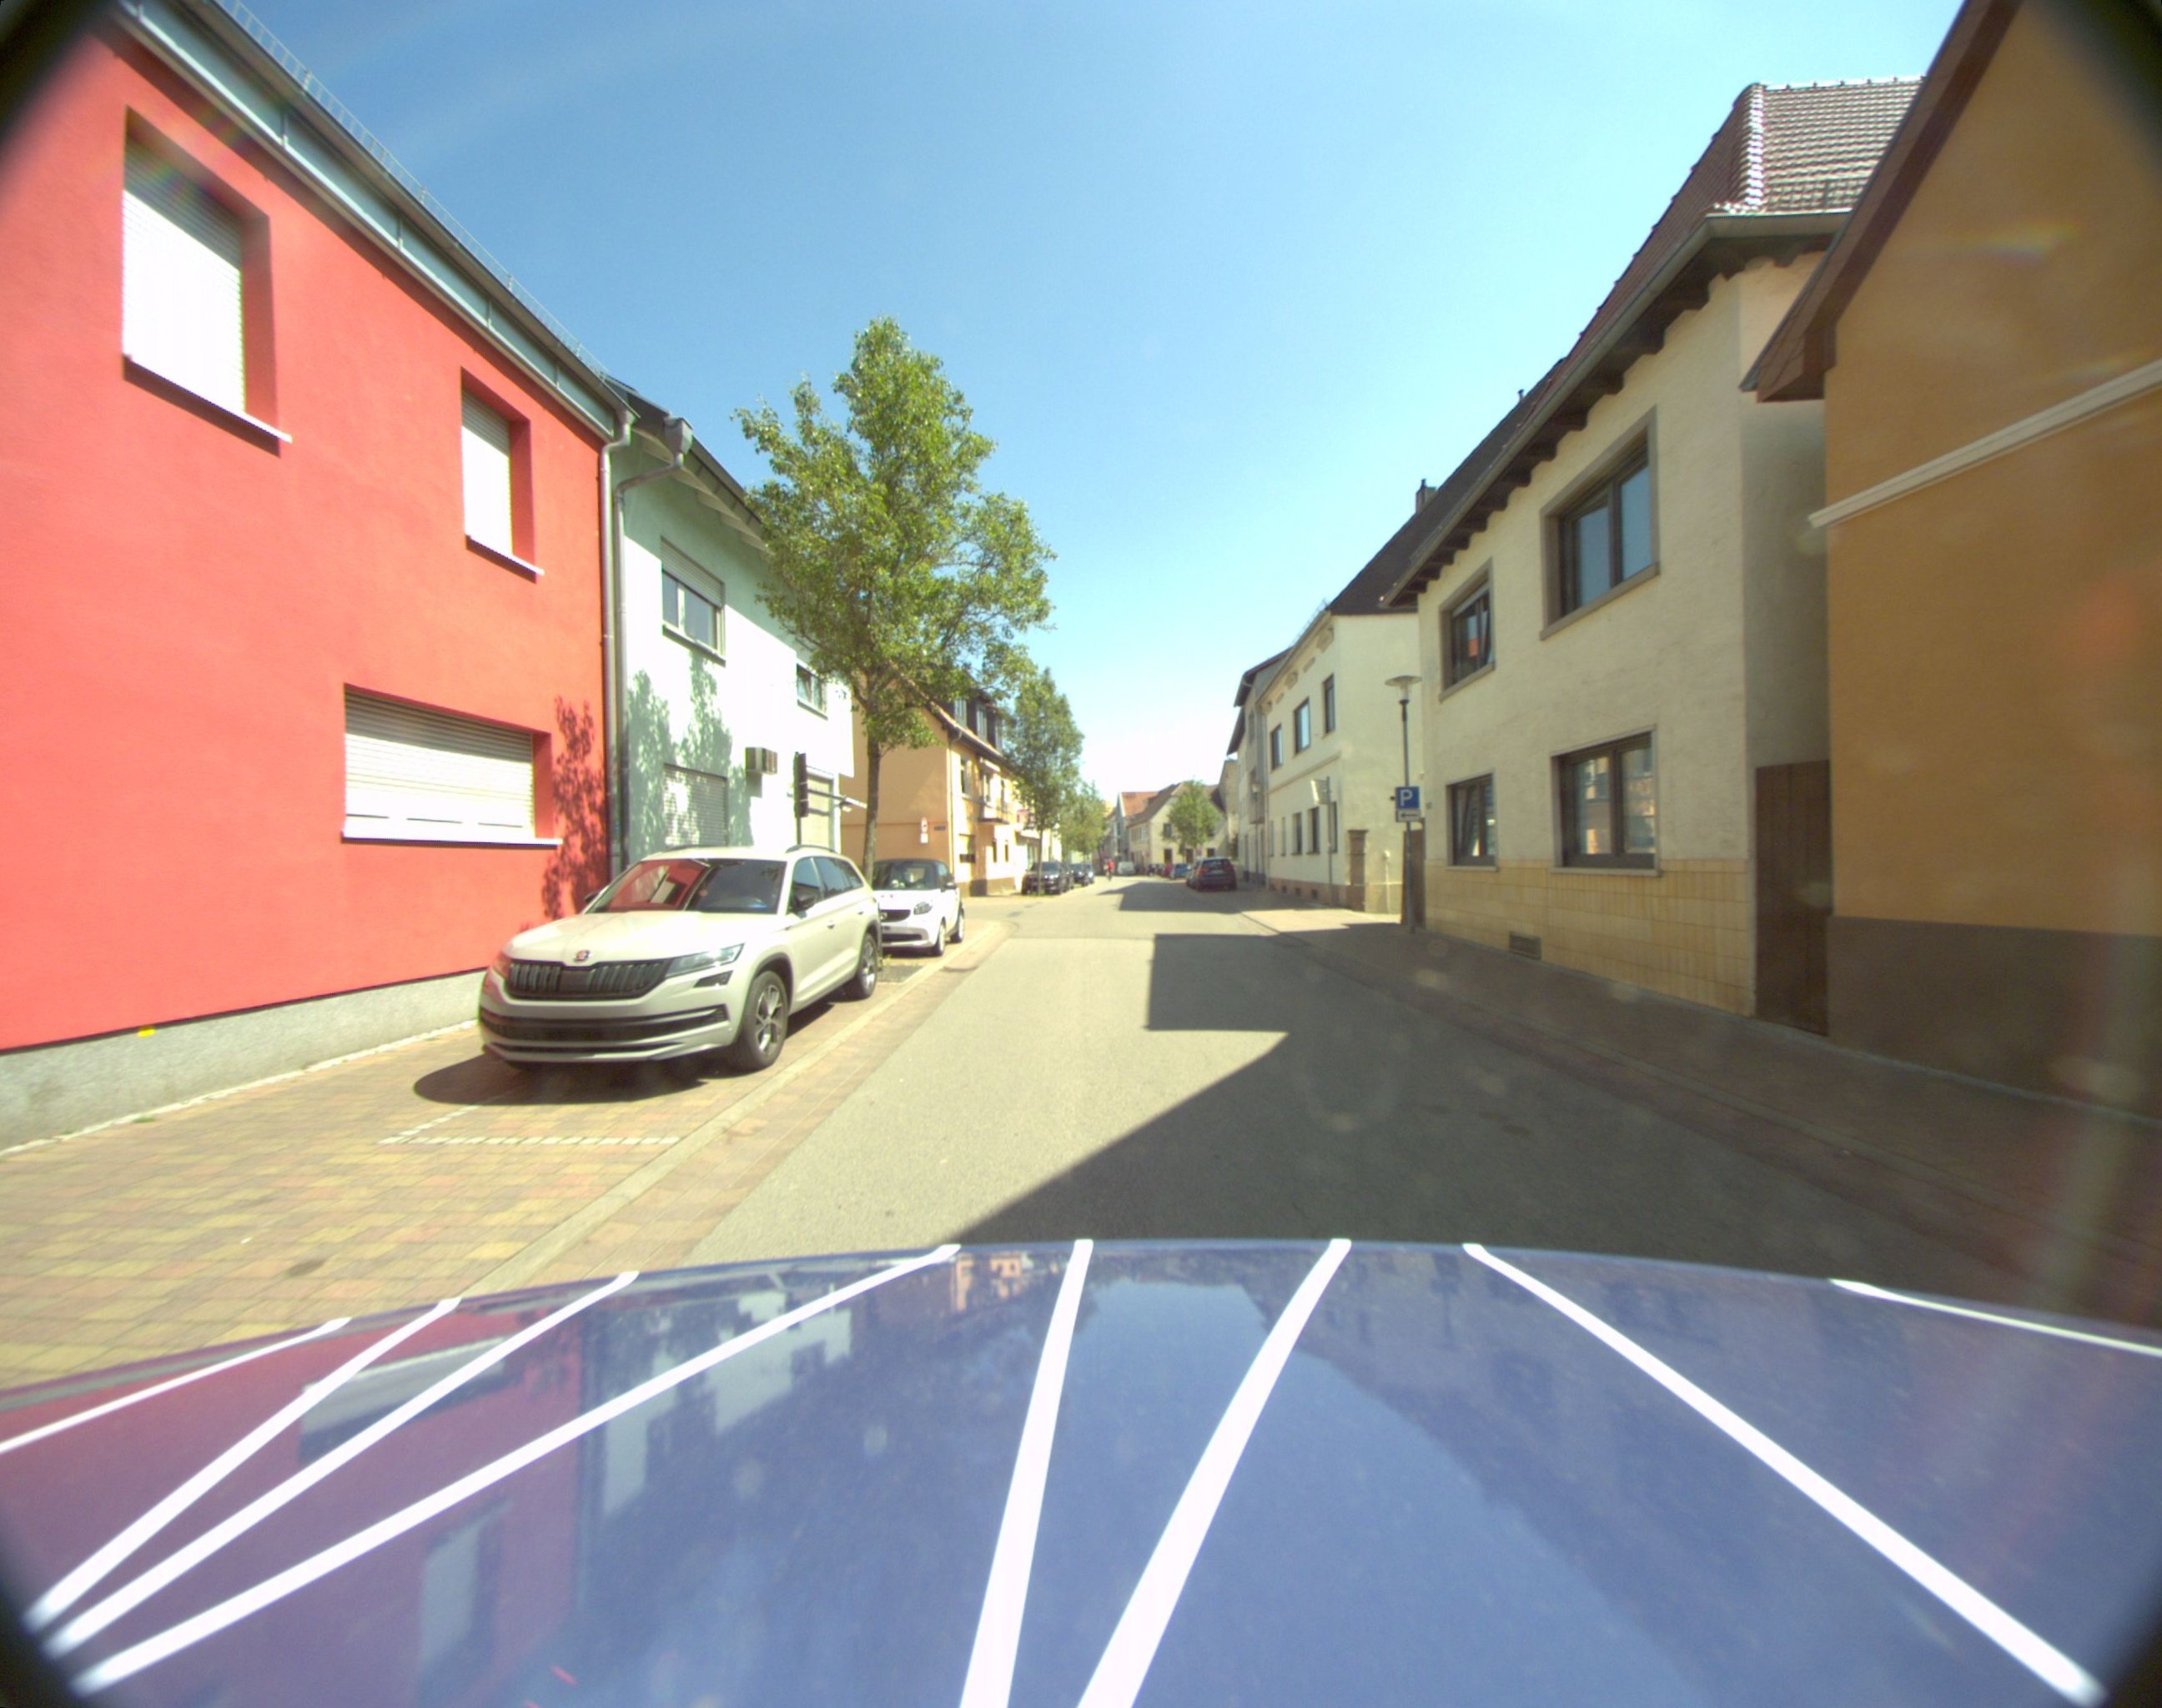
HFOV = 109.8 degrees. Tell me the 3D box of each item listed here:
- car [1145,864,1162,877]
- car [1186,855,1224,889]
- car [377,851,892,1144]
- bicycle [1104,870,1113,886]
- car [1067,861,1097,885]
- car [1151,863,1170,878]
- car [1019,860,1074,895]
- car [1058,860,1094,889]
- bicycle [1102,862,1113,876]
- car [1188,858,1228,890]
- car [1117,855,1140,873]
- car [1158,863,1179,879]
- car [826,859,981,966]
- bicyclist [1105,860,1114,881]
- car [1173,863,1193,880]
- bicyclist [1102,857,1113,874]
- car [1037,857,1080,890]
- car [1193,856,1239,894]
[{"bbox_3d":[8.402,1.907,88.592,1.571,1.452,3.801,-1,0,0],"label":"car"},{"bbox_3d":[7.484,1.072,46.109,1.997,1.935,4.111,-2,-1,6],"label":"car"},{"bbox_3d":[-3.214,0.878,6.820,1.871,1.674,4.662,-2,-1,0],"label":"car"},{"bbox_3d":[2.342,2.058,64.788,0.635,1.227,1.895,4,-3,3],"label":"bicycle"},{"bbox_3d":[0.148,1.429,58.480,1.998,1.759,4.110,-1,0,4],"label":"car"},{"bbox_3d":[8.507,1.760,81.373,1.571,1.452,3.801,-1,0,0],"label":"car"},{"bbox_3d":[-1.603,1.088,36.935,1.928,1.594,4.111,-1,0,8],"label":"car"},{"bbox_3d":[-0.264,1.299,49.529,1.998,1.759,4.110,-1,0,4],"label":"car"},{"bbox_3d":[2.670,1.496,75.447,0.959,1.362,2.407,2,-1,4],"label":"bicycle"},{"bbox_3d":[6.880,1.064,41.605,1.916,1.605,3.988,-1,0,6],"label":"car"},{"bbox_3d":[6.171,1.388,99.227,2.443,2.223,4.961,-1,-1,-2],"label":"car"},{"bbox_3d":[8.430,1.578,73.380,1.571,1.452,3.801,-1,0,0],"label":"car"},{"bbox_3d":[-2.939,0.892,13.446,1.715,1.534,3.998,3,0,0],"label":"car"},{"bbox_3d":[2.397,1.420,64.918,0.645,1.765,0.722,4,-2,3],"label":"bicyclist"},{"bbox_3d":[8.979,1.520,67.098,1.571,1.452,3.803,-1,0,4],"label":"car"},{"bbox_3d":[2.654,1.103,75.171,1.028,1.634,1.025,2,-1,4],"label":"bicyclist"},{"bbox_3d":[-1.211,1.083,43.061,1.998,1.759,4.110,-1,0,4],"label":"car"},{"bbox_3d":[6.397,0.995,36.352,1.863,1.620,4.049,-3,-1,7],"label":"car"}]
